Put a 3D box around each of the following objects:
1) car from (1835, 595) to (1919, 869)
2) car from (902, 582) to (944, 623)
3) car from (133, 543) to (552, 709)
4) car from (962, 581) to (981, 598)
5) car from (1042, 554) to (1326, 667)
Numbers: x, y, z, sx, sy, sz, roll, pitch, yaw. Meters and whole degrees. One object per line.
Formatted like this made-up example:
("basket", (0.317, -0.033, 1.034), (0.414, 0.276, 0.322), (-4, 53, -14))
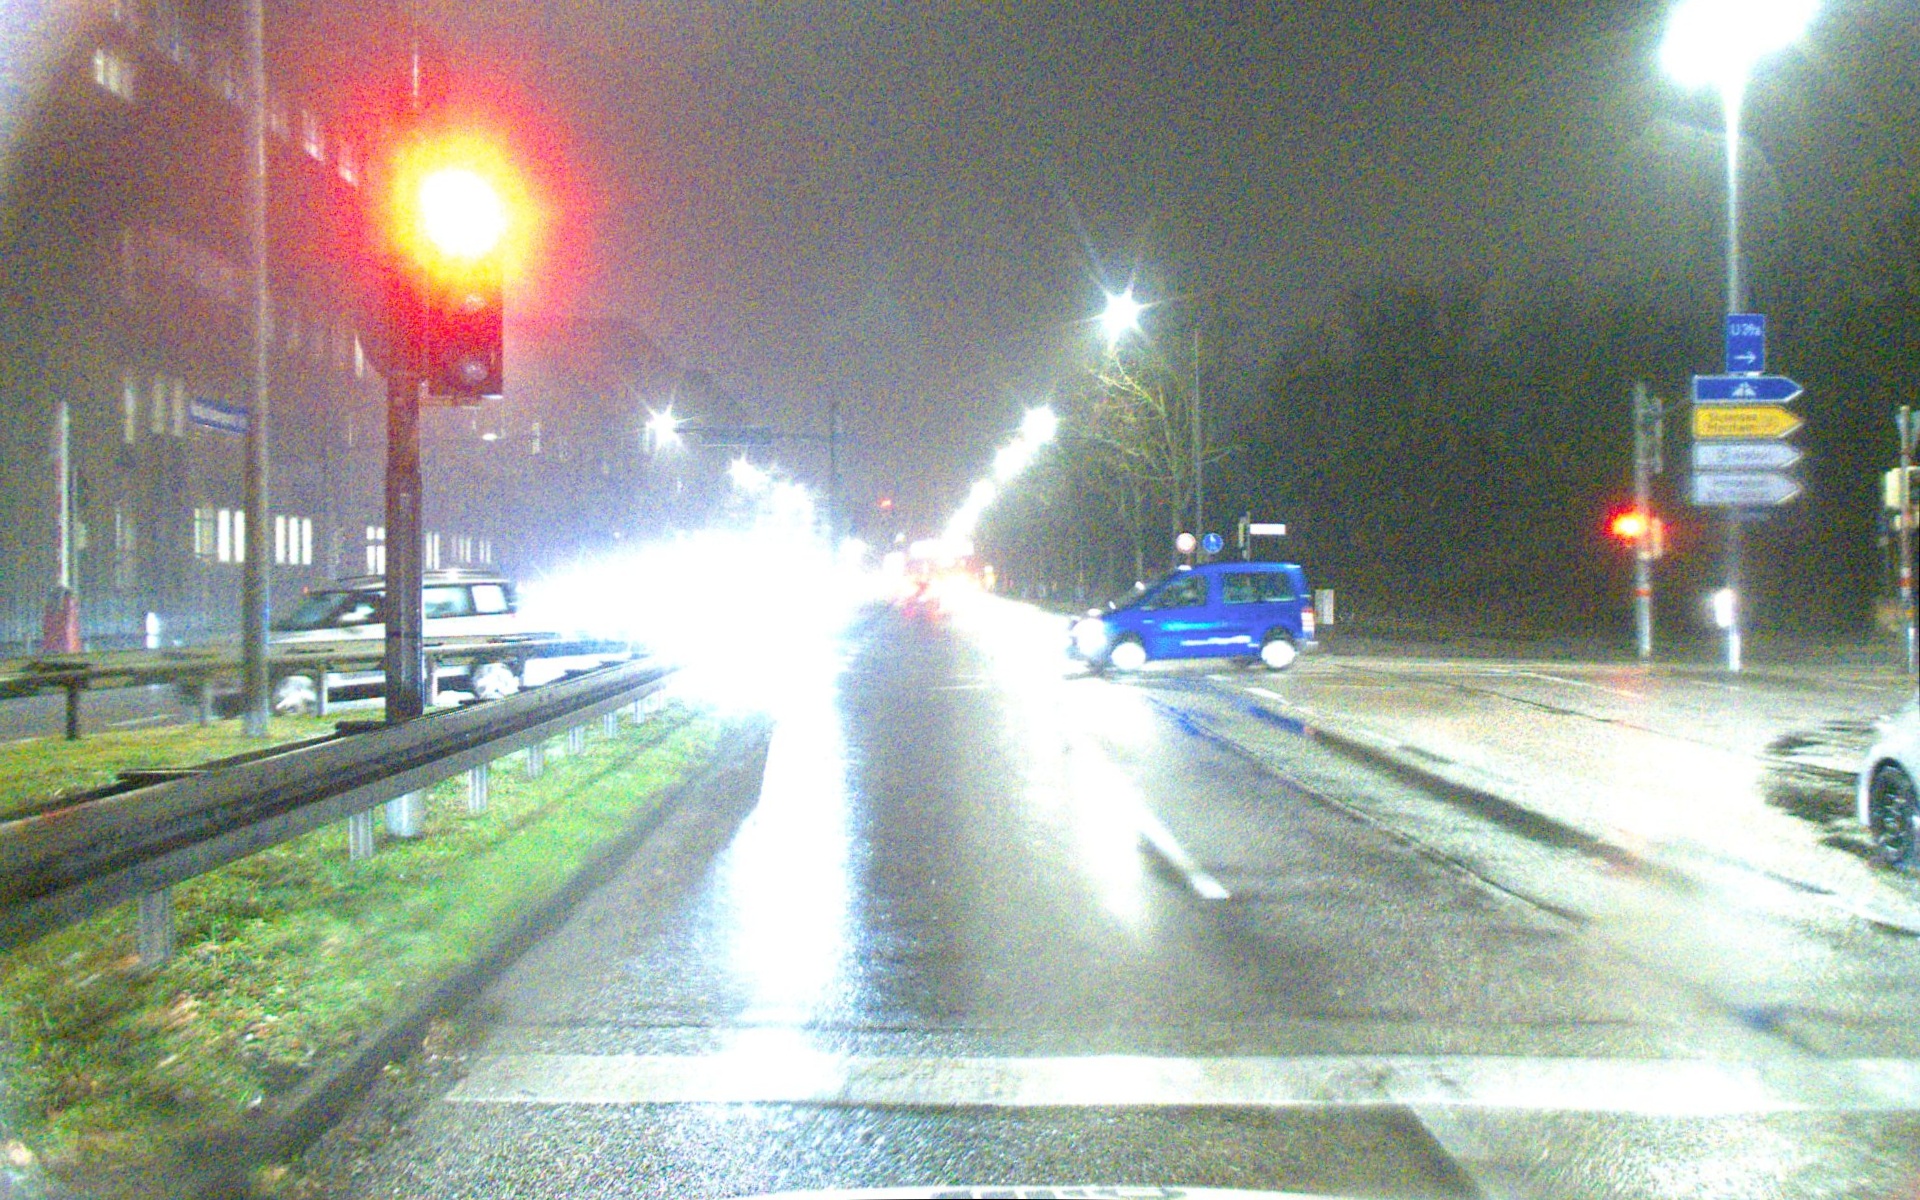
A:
("car", (6.027, 0.728, 8.033), (1.600, 1.484, 3.593), (1, 0, -1))
("car", (-1.945, 0.117, 86.211), (1.954, 2.049, 4.628), (1, 0, -4))
("car", (-7.298, 0.296, 19.913), (1.875, 1.771, 4.373), (1, 0, 41))
("car", (1.218, -1.131, 178.802), (1.953, 1.790, 3.999), (1, 0, -1))
("car", (3.759, 0.187, 28.068), (4.410, 1.780, 1.855), (1, 0, -11))
